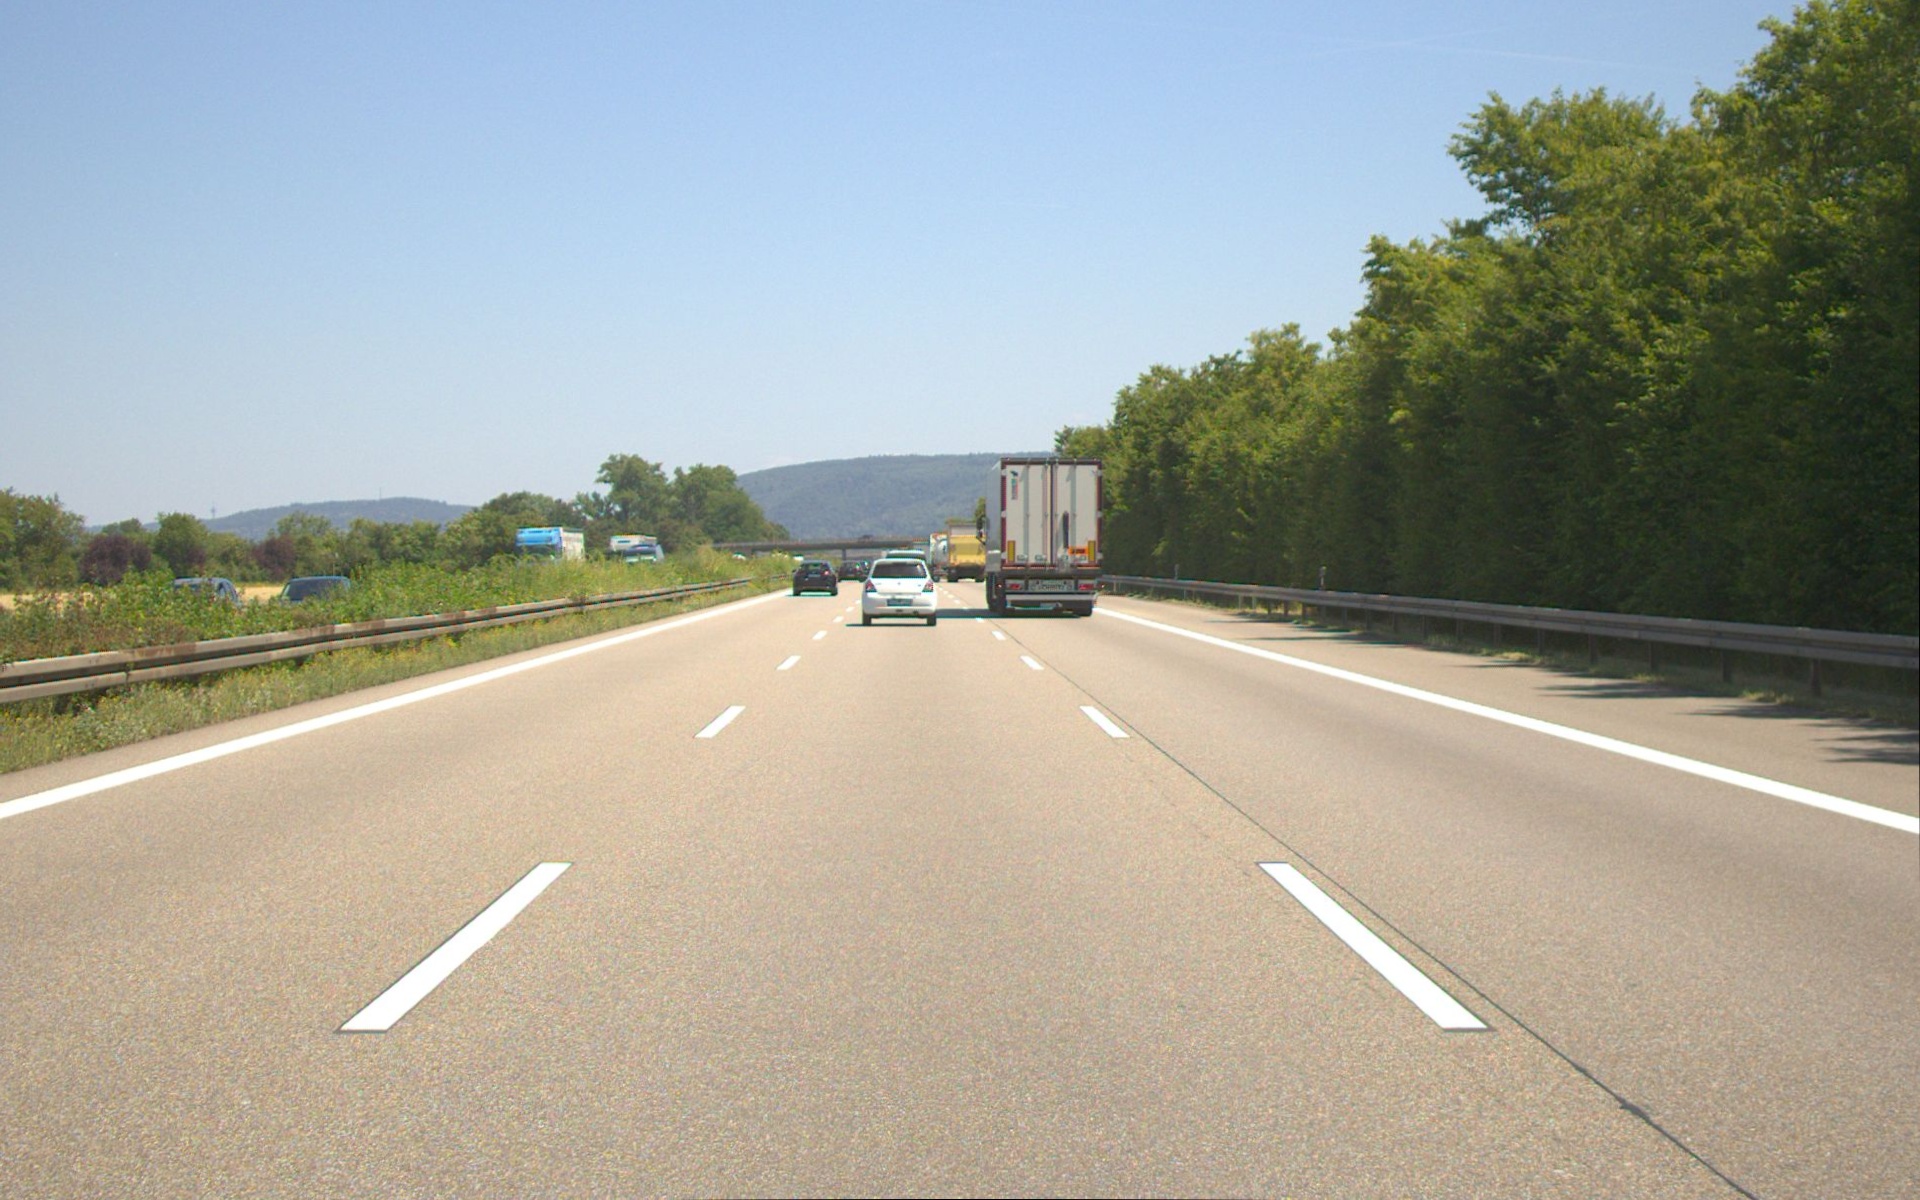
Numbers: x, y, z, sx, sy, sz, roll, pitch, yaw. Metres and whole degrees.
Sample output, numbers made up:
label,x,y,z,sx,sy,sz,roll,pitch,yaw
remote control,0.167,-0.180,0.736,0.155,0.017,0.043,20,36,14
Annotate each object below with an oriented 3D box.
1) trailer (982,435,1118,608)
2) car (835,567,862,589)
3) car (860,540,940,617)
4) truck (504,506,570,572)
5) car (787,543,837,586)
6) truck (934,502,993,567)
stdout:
label,x,y,z,sx,sy,sz,roll,pitch,yaw
trailer,2.324,-2.086,93.826,3.218,4.330,13.630,1,1,0
car,-7.671,-1.529,237.308,1.795,1.545,4.000,0,0,-1
car,-1.383,-0.515,78.249,1.732,1.678,4.000,-1,1,-2
truck,-24.056,-3.449,195.615,3.110,3.686,5.198,1,1,-1
car,-6.095,-1.481,142.147,1.993,1.706,4.000,1,1,-2
truck,0.167,-4.578,241.599,3.871,4.330,13.861,1,1,-1
